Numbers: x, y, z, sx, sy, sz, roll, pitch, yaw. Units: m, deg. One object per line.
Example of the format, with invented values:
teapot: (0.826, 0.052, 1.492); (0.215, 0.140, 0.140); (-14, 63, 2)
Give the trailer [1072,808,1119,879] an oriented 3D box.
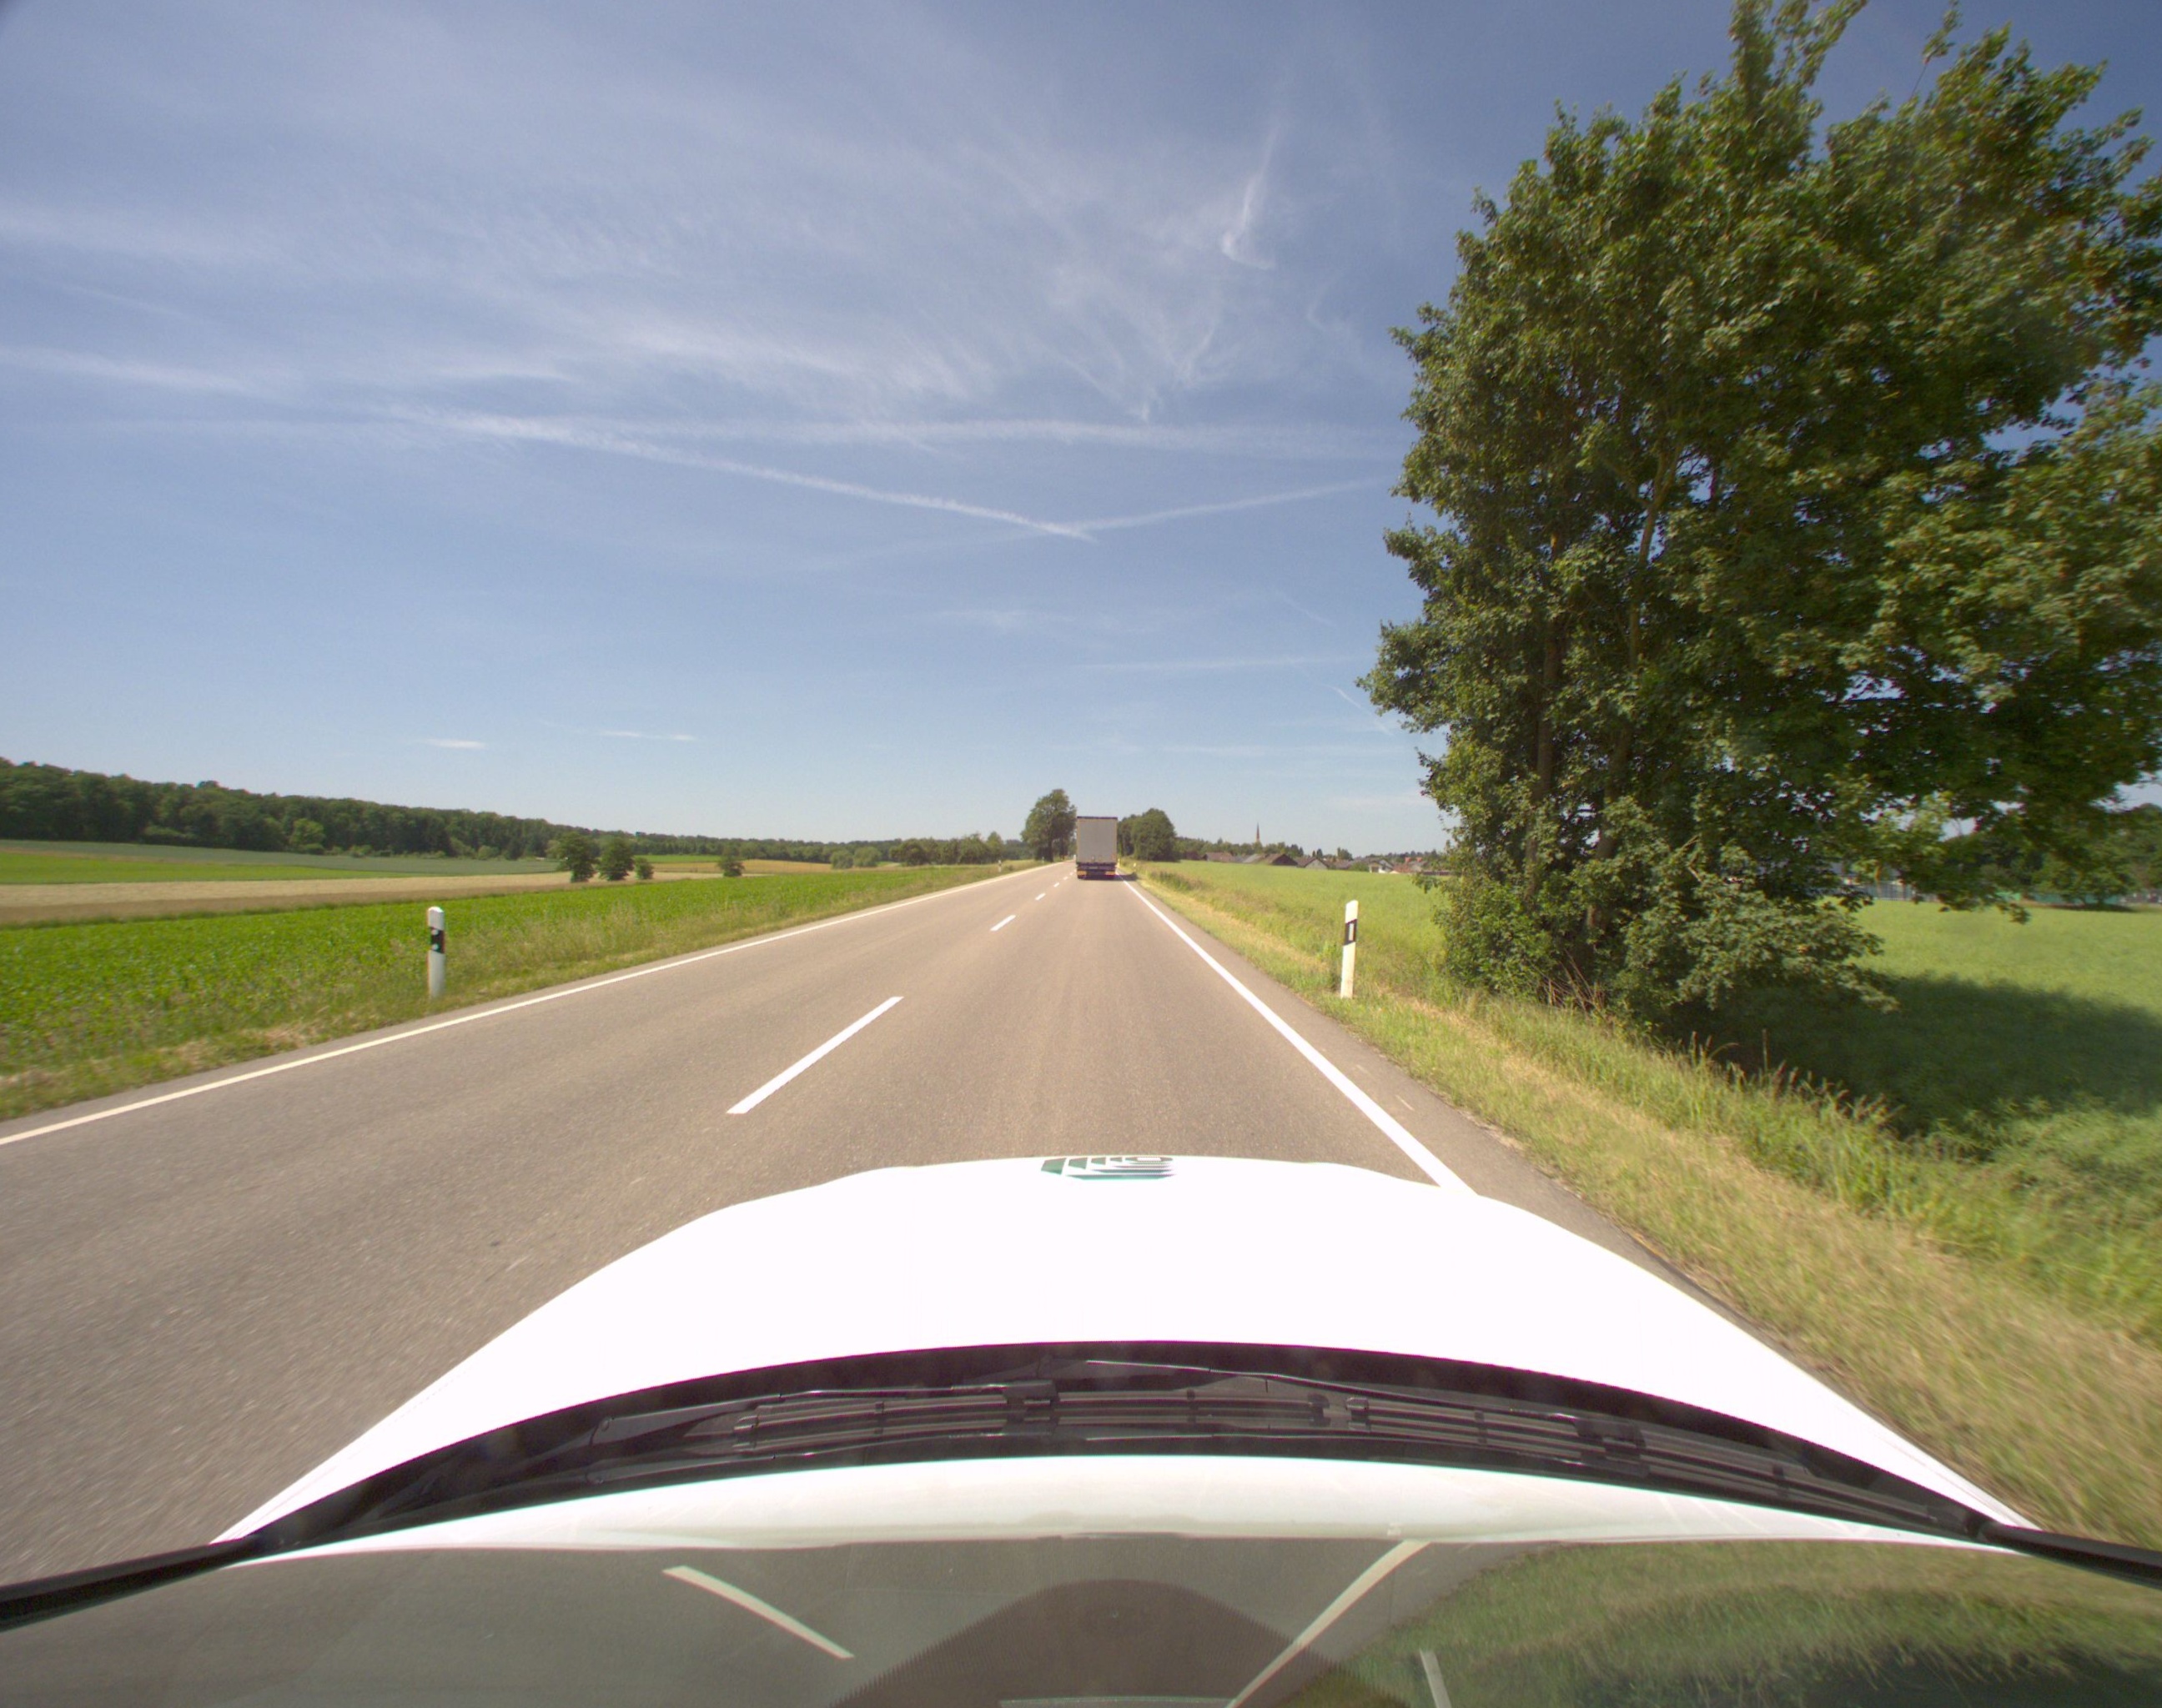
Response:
trailer: (0.971, -0.664, 57.066); (2.857, 4.400, 13.493); (0, 0, 1)
